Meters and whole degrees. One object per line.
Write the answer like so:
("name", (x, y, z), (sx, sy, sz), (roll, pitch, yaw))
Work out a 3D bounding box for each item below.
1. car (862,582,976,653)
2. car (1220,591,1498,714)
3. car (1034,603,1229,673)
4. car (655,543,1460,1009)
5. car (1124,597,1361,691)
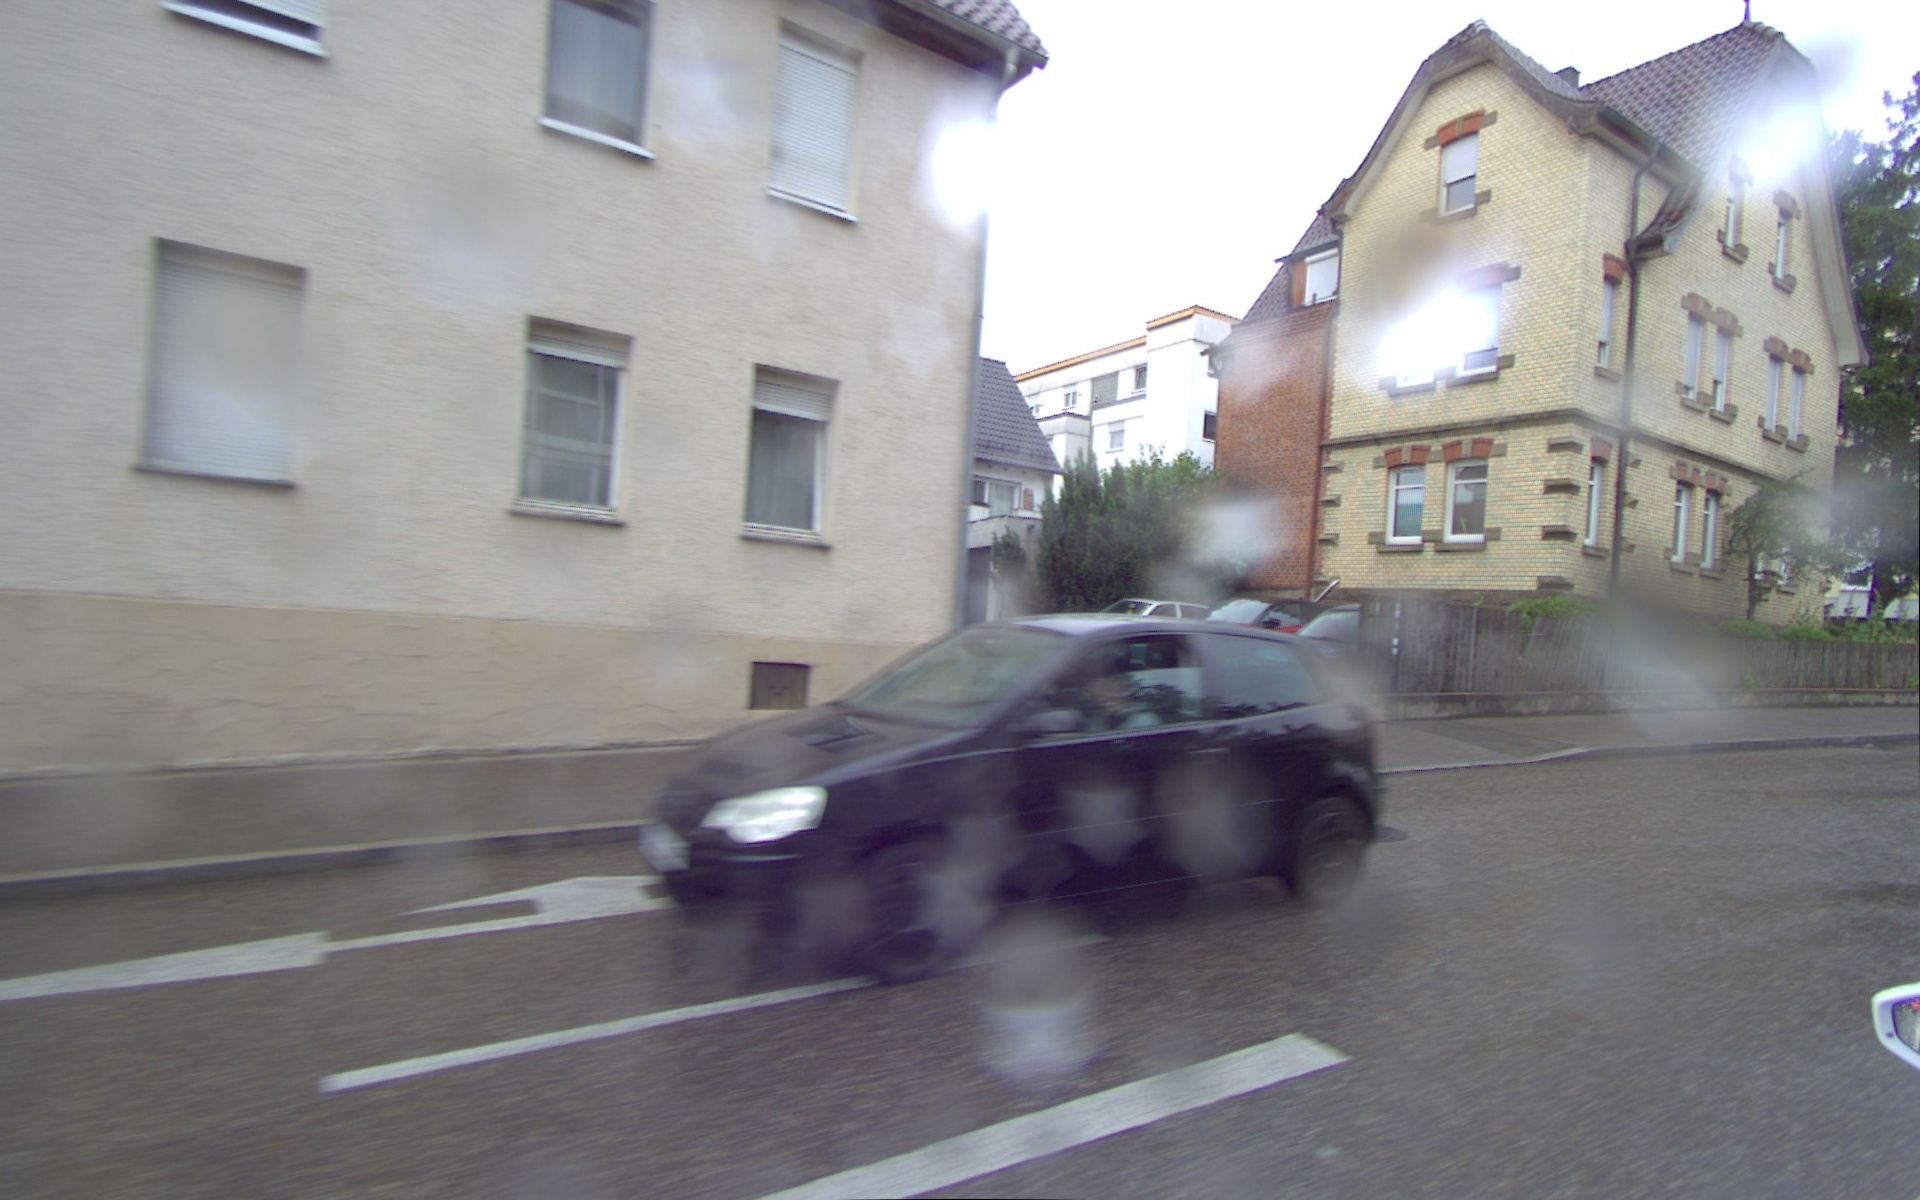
("car", (-1.068, 0.366, 24.027), (1.815, 1.486, 3.560), (2, 2, -18))
("car", (5.845, 0.700, 14.649), (3.837, 1.523, 1.762), (1, 2, -30))
("car", (3.402, 0.724, 19.811), (3.535, 1.181, 1.708), (1, 2, -32))
("car", (0.562, 0.633, 5.192), (3.768, 1.593, 1.736), (2, 3, -30))
("car", (4.861, 0.704, 17.182), (3.839, 1.386, 1.761), (1, 2, -32))
